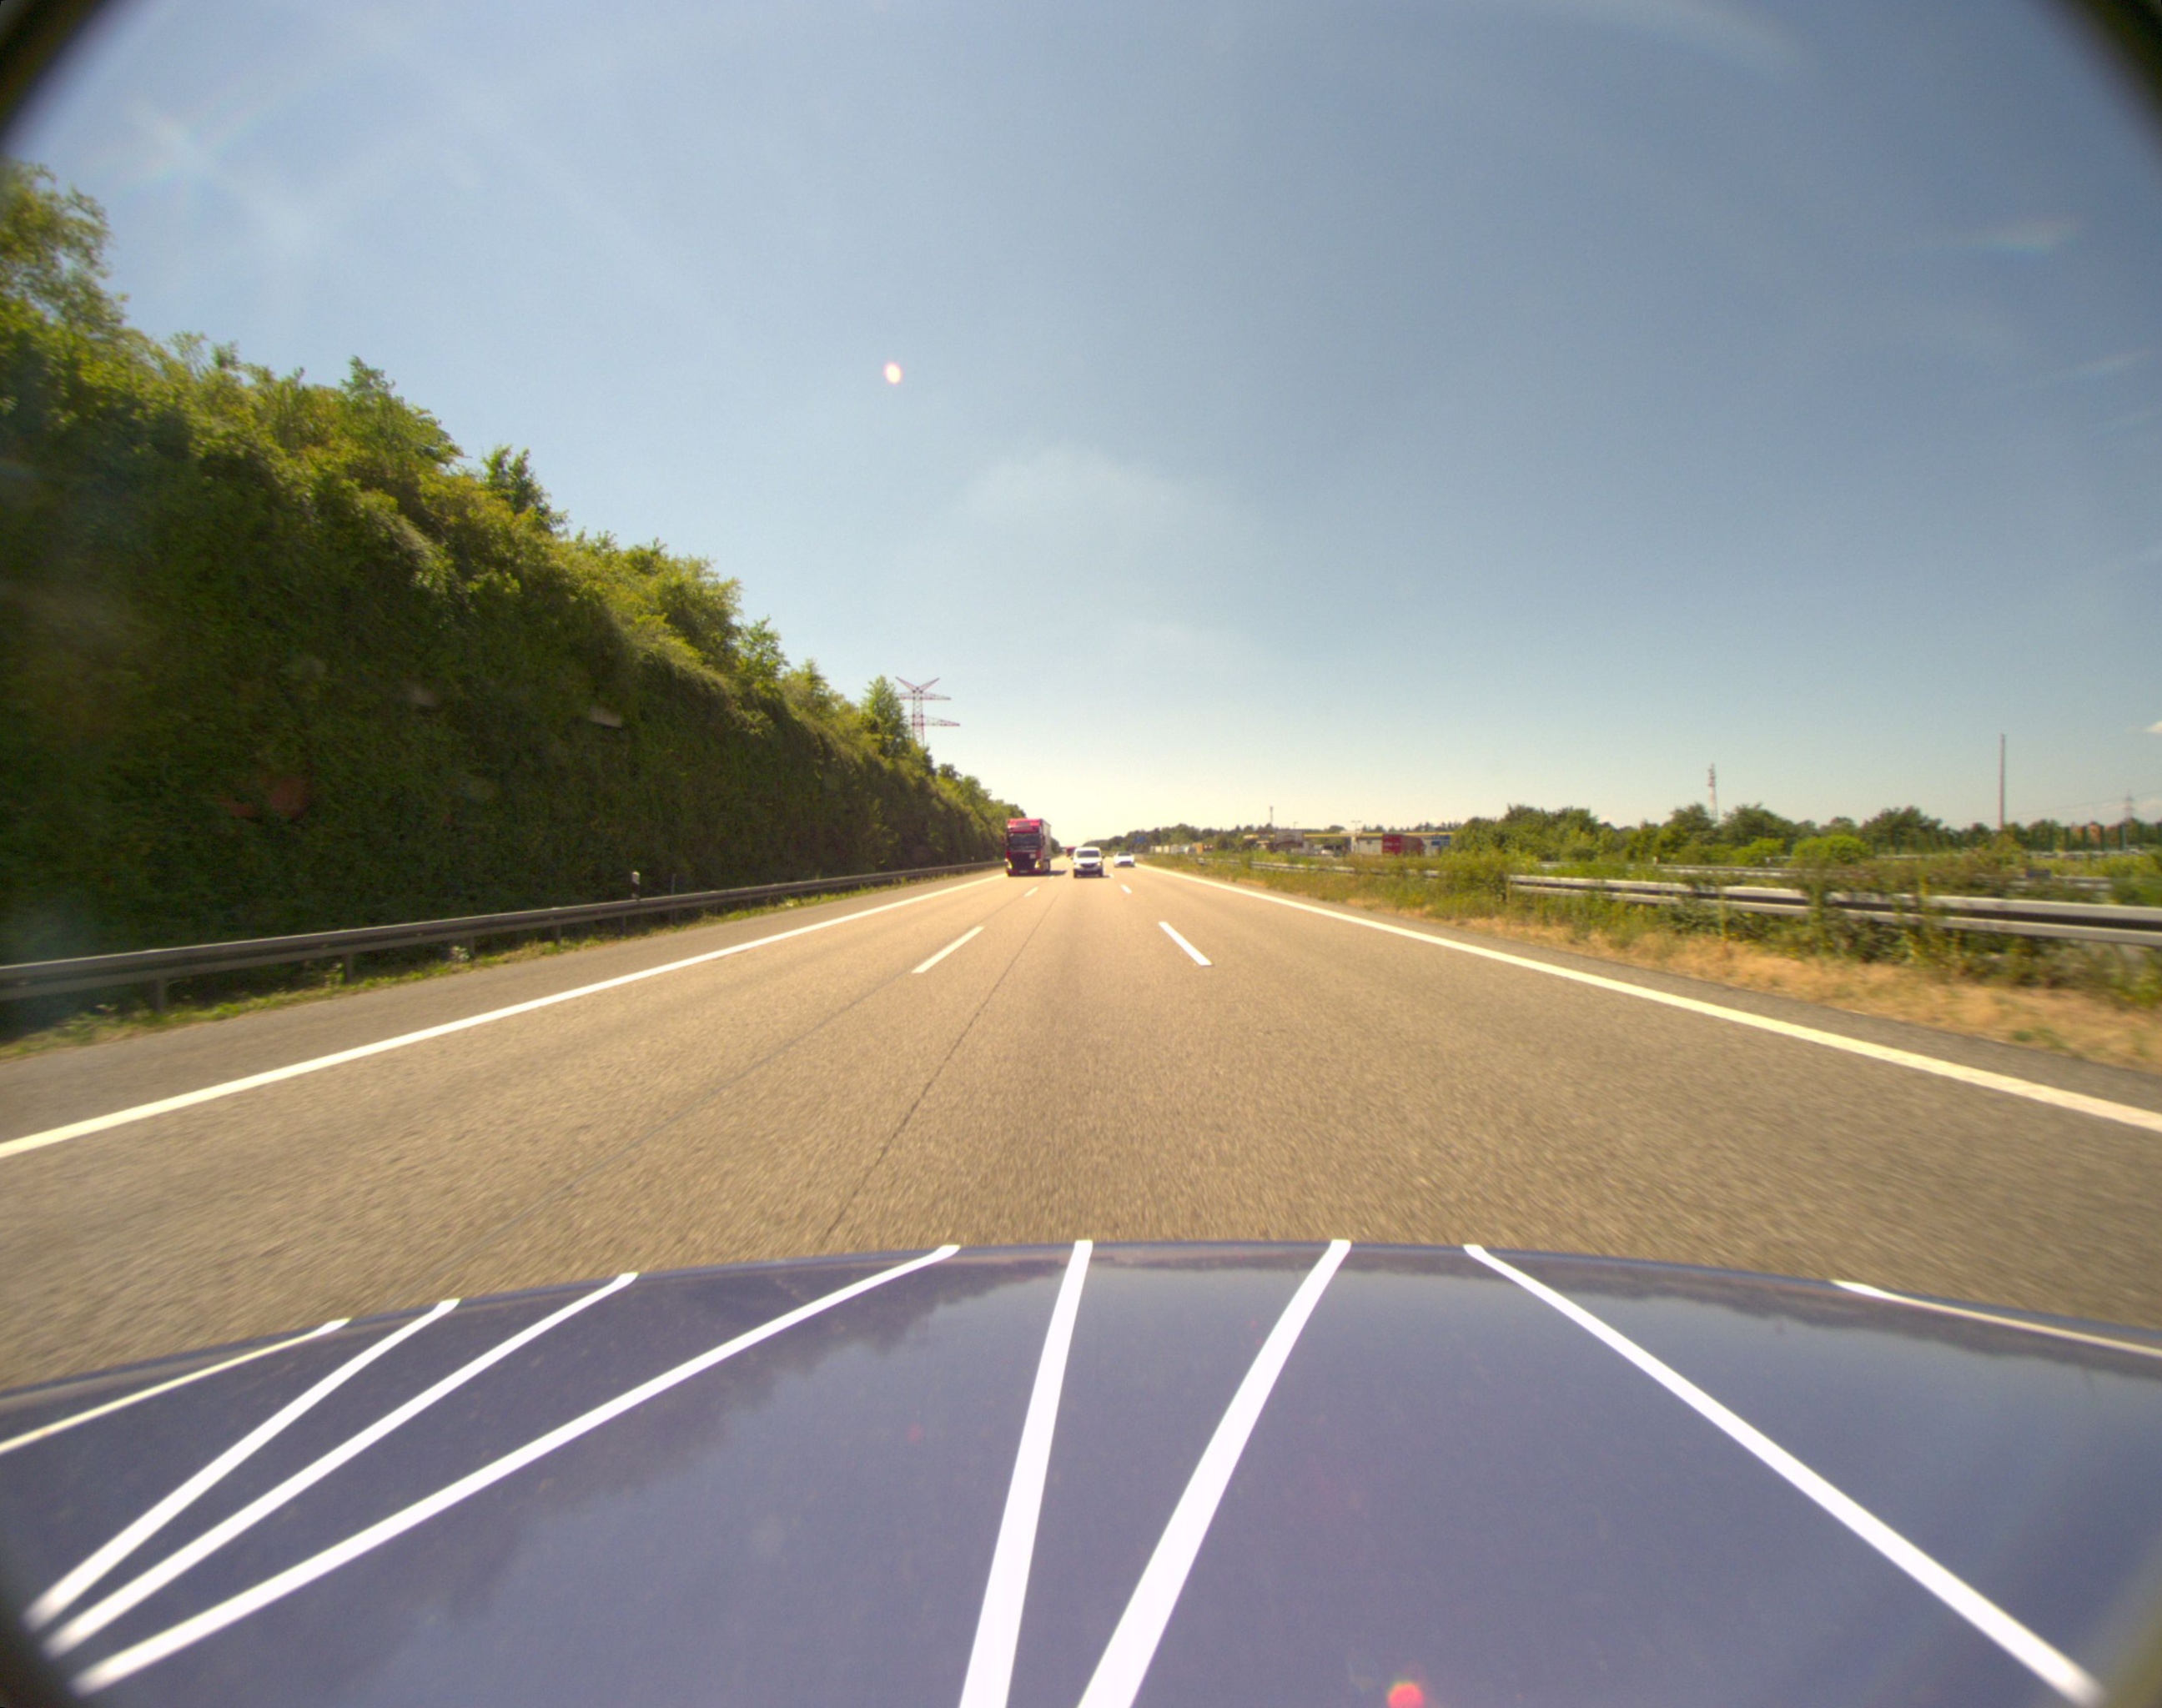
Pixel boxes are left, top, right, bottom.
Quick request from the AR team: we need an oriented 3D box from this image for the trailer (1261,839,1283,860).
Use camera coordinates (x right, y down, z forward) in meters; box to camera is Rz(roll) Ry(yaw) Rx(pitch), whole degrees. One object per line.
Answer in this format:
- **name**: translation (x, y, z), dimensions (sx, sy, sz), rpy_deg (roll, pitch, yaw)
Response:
- **trailer**: translation (45.200, -1.113, 179.915), dimensions (3.040, 4.822, 9.134), rpy_deg (-3, 1, 2)

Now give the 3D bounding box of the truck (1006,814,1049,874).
- **truck**: translation (-3.713, -0.682, 54.319), dimensions (2.505, 3.897, 7.096), rpy_deg (-2, 1, 0)

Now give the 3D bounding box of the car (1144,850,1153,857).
- **car**: translation (18.772, -0.160, 210.997), dimensions (1.958, 1.799, 5.046), rpy_deg (-3, 0, -1)

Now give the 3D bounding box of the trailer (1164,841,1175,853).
- **trailer**: translation (30.823, -2.385, 265.161), dimensions (2.605, 4.194, 10.513), rpy_deg (-3, 0, 0)

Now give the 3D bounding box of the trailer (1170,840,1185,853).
- **trailer**: translation (30.841, -2.370, 242.742), dimensions (3.121, 4.134, 11.013), rpy_deg (-3, 0, -1)

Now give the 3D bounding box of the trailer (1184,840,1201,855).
- **trailer**: translation (31.987, -1.901, 218.475), dimensions (2.840, 4.124, 12.082), rpy_deg (-3, 0, -1)

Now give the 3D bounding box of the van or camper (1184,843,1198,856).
- **van or camper**: translation (22.837, -0.870, 157.777), dimensions (2.064, 2.510, 6.389), rpy_deg (-3, 0, 1)

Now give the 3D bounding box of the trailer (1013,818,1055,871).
- **trailer**: translation (-3.710, -0.743, 62.971), dimensions (2.497, 3.887, 14.244), rpy_deg (-2, 0, 0)

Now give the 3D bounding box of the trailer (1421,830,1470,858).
- **trailer**: translation (61.424, -1.766, 127.901), dimensions (11.083, 4.241, 3.158), rpy_deg (-3, 1, -40)

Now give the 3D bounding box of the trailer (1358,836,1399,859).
- **trailer**: translation (58.560, -1.290, 149.911), dimensions (3.309, 4.332, 12.921), rpy_deg (-3, 0, 2)

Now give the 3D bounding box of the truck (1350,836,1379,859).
- **truck**: translation (58.827, -1.356, 157.901), dimensions (3.309, 4.332, 7.625), rpy_deg (-3, 1, 2)

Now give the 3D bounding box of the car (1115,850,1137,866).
- **car**: translation (4.195, 0.344, 71.360), dimensions (1.775, 1.410, 3.401), rpy_deg (-3, 0, 1)

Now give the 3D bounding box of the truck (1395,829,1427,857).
- **truck**: translation (49.771, -1.677, 114.577), dimensions (3.119, 4.026, 6.657), rpy_deg (-2, 1, 35)

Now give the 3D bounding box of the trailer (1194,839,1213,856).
- **trailer**: translation (31.792, -1.753, 197.039), dimensions (2.840, 4.195, 11.081), rpy_deg (-3, 0, -1)

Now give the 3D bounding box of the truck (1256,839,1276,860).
- **truck**: translation (45.393, -1.163, 186.165), dimensions (3.033, 4.822, 7.878), rpy_deg (-3, 1, 2)

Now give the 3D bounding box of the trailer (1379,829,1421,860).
- **trailer**: translation (45.747, -1.464, 108.719), dimensions (3.123, 4.032, 11.334), rpy_deg (-2, 1, 34)

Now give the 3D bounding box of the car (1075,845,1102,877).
- **car**: translation (0.406, 0.395, 45.990), dimensions (1.501, 1.799, 3.393), rpy_deg (-3, 1, 0)

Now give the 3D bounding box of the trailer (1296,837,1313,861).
- **trailer**: translation (48.649, -1.191, 165.587), dimensions (3.306, 4.846, 9.692), rpy_deg (-2, 1, 15)

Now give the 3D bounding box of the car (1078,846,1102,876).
- **car**: translation (0.551, 0.419, 49.514), dimensions (1.413, 1.795, 3.200), rpy_deg (-3, 1, 0)
